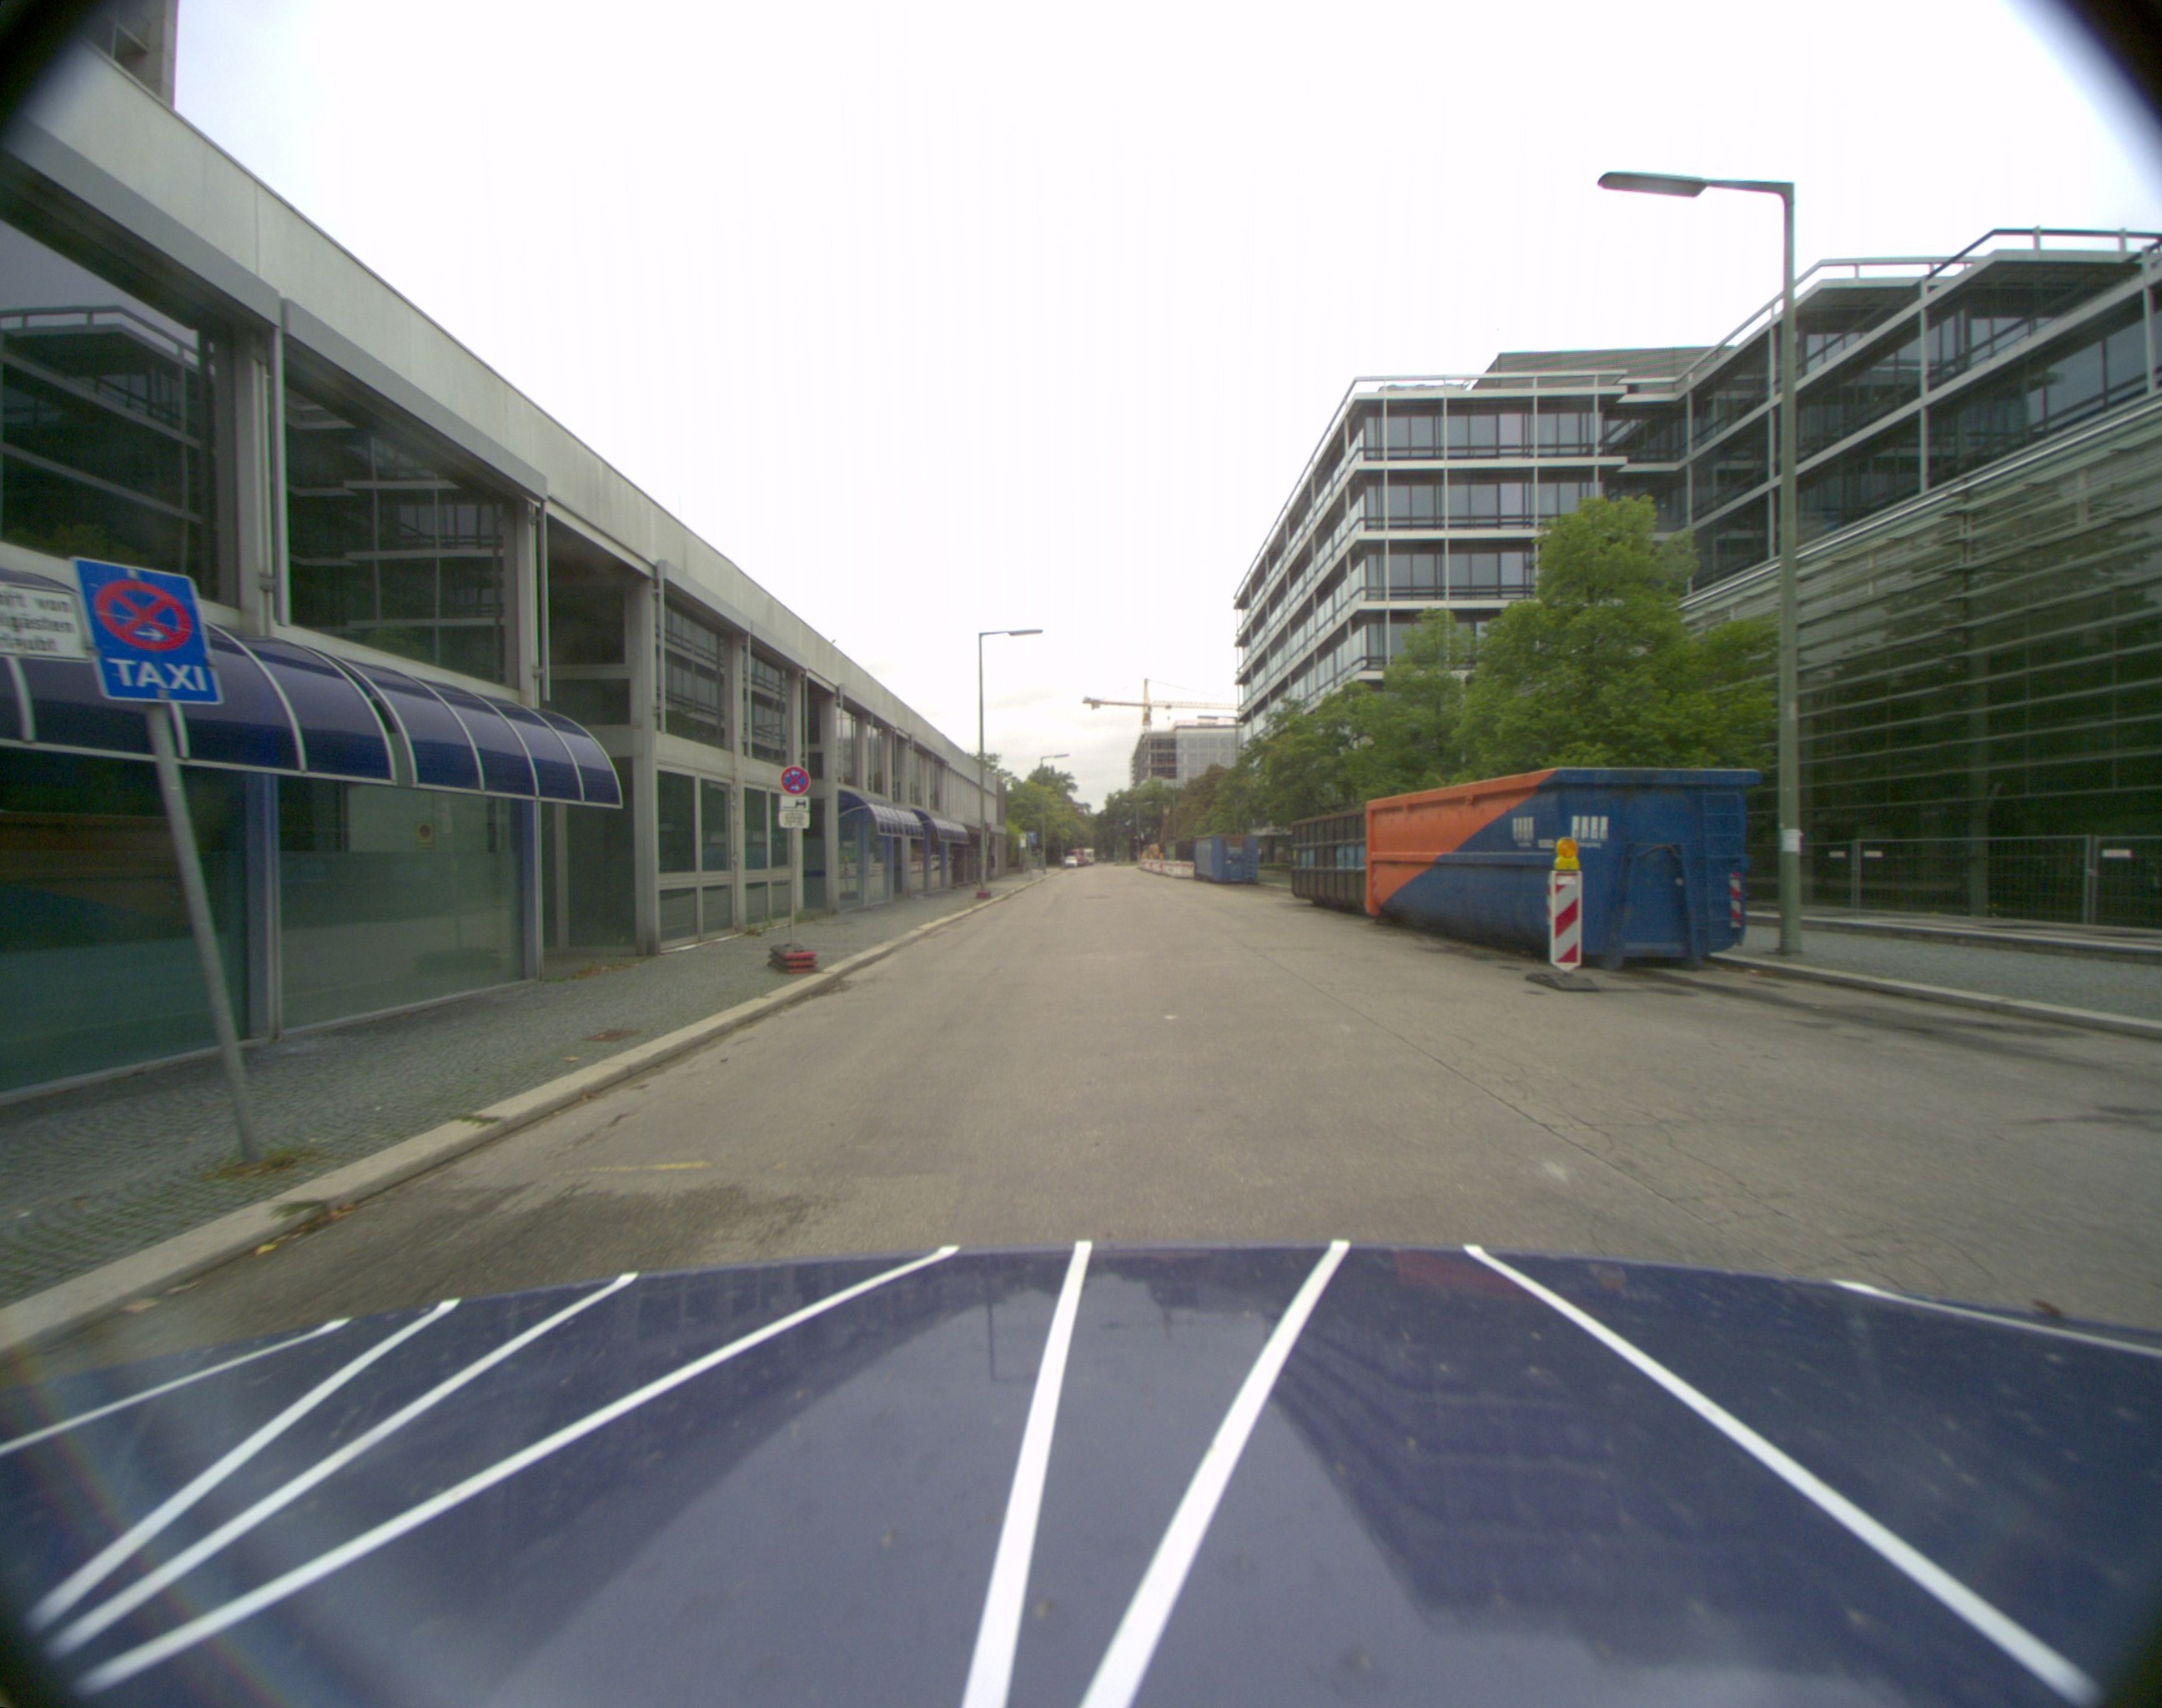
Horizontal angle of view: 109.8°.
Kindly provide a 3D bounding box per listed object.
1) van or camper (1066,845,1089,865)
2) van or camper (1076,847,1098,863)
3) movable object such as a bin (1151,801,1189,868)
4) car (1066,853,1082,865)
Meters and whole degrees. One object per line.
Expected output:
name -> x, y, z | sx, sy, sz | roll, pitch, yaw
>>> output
van or camper -> -0.458, 0.072, 108.564 | 2.666, 2.751, 6.917 | -1, 0, 4
van or camper -> 1.017, 0.114, 122.845 | 2.665, 2.436, 6.448 | -1, 0, 7
movable object such as a bin -> 8.781, -1.895, 76.128 | 3.241, 6.285, 8.337 | -1, 0, 3
car -> -0.959, 0.672, 102.299 | 1.912, 1.627, 4.001 | -1, 0, 3
